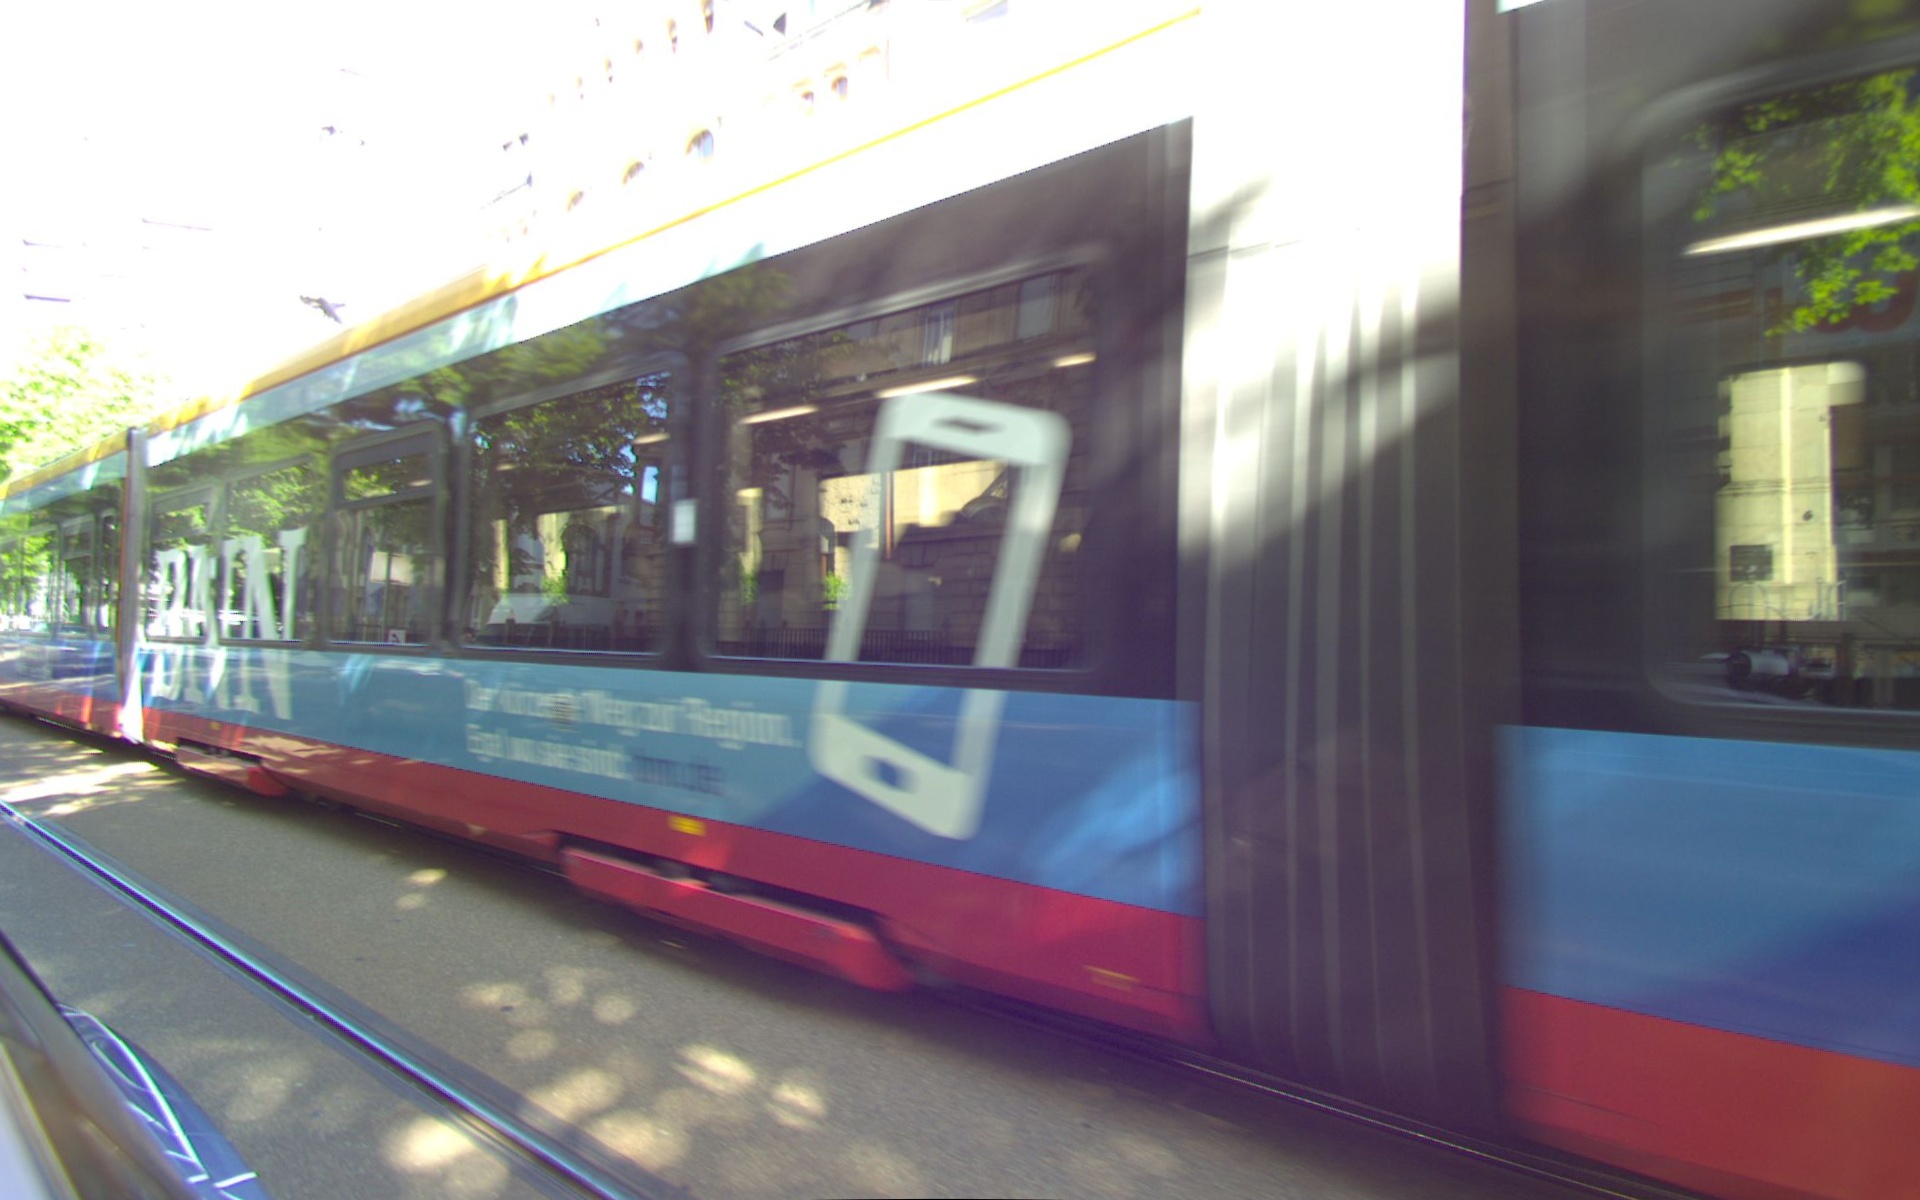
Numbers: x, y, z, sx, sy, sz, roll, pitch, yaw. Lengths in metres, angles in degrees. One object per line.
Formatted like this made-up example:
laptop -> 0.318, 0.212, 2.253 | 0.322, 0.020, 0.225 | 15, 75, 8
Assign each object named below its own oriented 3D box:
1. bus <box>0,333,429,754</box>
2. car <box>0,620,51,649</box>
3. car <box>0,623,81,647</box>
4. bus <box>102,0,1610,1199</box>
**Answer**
bus -> -11.348, -0.509, 13.827 | 11.483, 3.805, 2.832 | 0, 0, 38
car -> -51.185, 1.862, 54.781 | 1.220, 1.436, 2.734 | 0, 0, 23
car -> -45.614, 1.716, 50.231 | 1.220, 1.097, 2.734 | 0, 0, 23
bus -> -2.441, -0.541, 6.720 | 11.169, 3.805, 2.832 | 0, 0, 38
